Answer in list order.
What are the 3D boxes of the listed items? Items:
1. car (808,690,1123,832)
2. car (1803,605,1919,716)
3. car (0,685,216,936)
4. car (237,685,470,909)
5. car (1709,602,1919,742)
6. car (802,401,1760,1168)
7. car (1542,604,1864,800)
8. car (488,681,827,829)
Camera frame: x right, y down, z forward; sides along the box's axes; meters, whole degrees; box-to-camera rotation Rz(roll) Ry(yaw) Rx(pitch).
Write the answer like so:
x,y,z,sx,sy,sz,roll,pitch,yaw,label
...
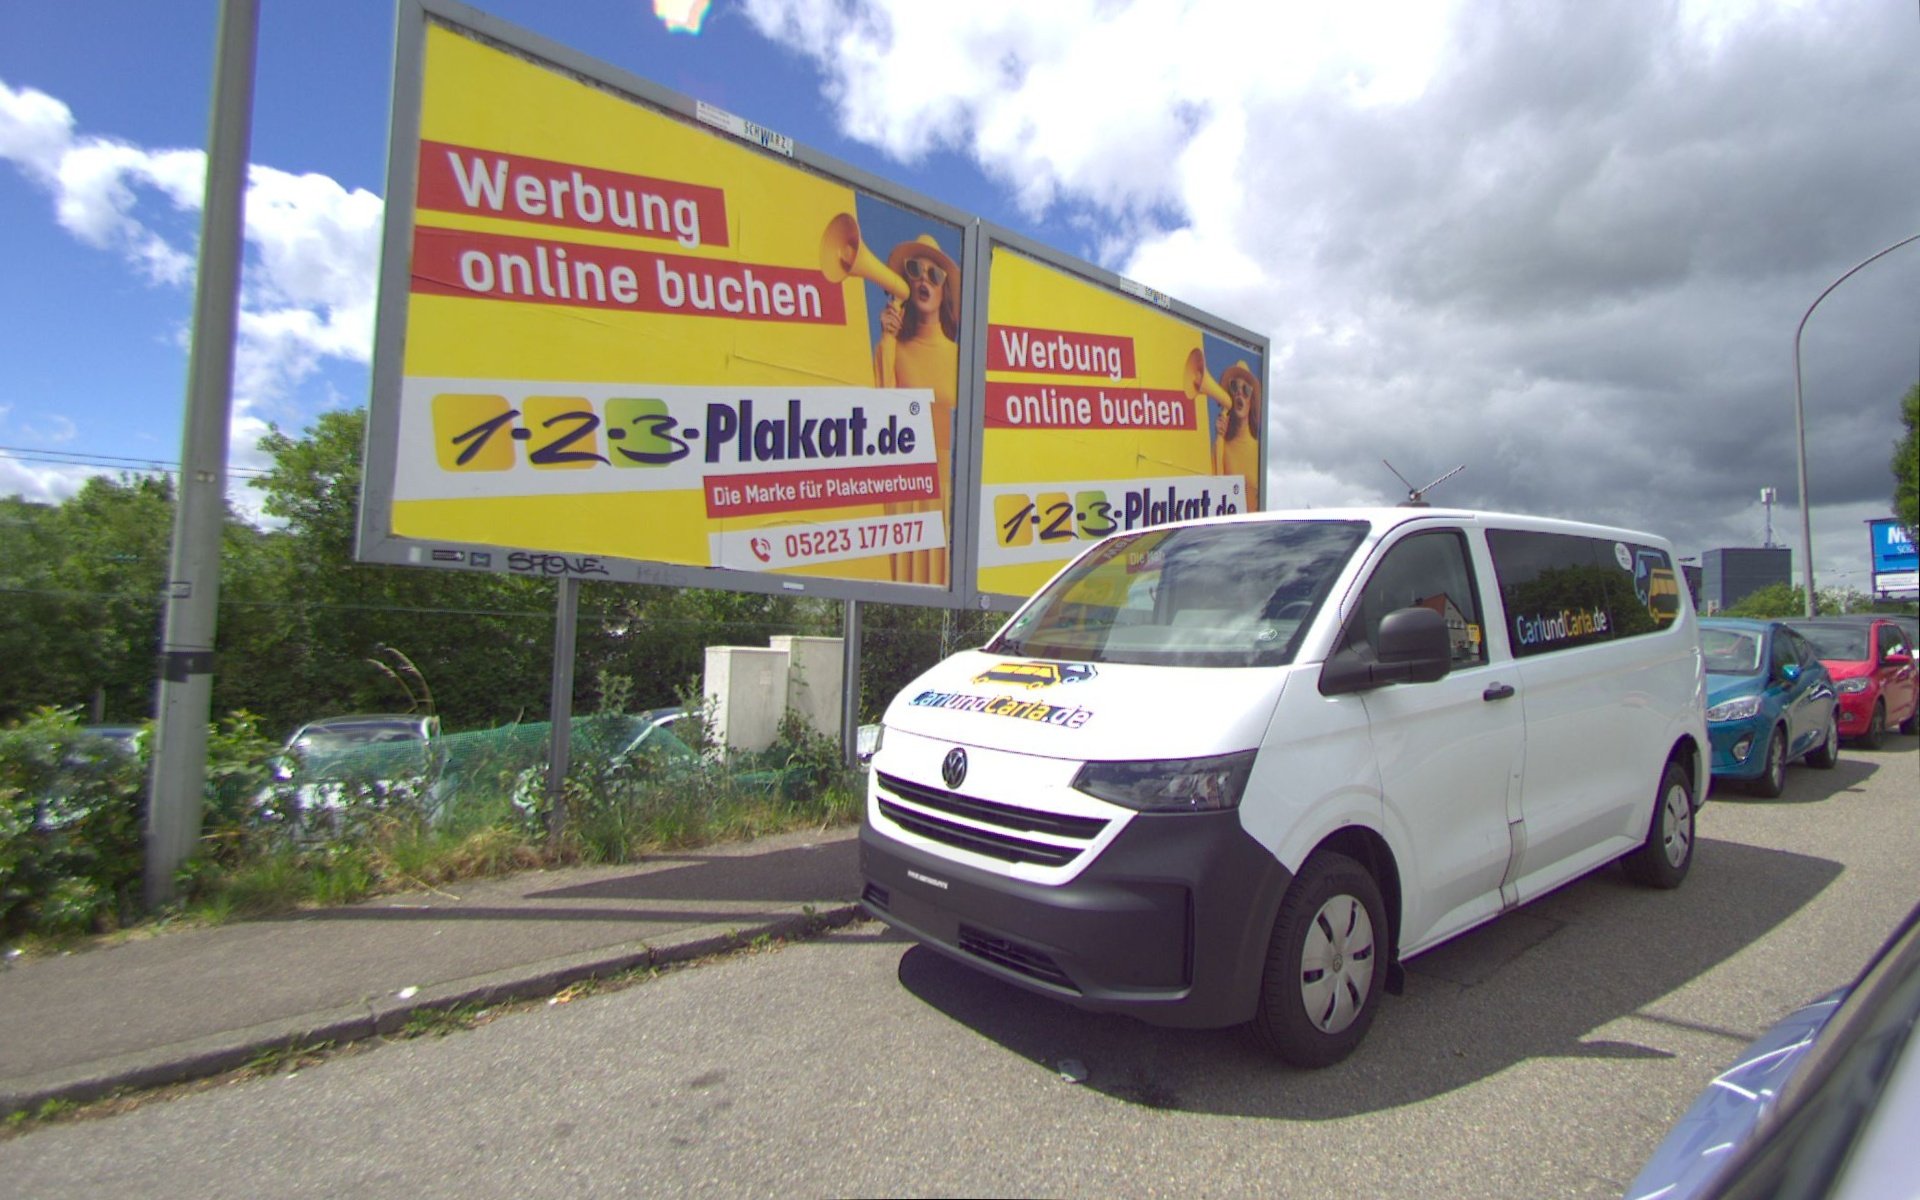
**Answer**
x,y,z,sx,sy,sz,roll,pitch,yaw,label
0.169,2.242,14.981,4.469,1.460,1.821,0,0,-36,car
14.153,0.861,15.347,2.806,1.542,1.596,1,-1,-39,car
-8.441,1.793,9.593,1.757,1.618,4.004,0,0,-30,car
-6.136,1.835,10.654,1.612,1.509,4.007,0,0,-24,car
10.846,0.792,12.588,3.436,1.500,1.597,1,-1,-38,car
2.071,0.510,5.171,5.446,2.029,1.979,1,-1,-39,car
7.071,0.785,9.492,3.909,1.469,1.595,1,-1,-41,car
-3.594,1.756,12.298,3.643,1.276,1.576,0,0,-37,car
